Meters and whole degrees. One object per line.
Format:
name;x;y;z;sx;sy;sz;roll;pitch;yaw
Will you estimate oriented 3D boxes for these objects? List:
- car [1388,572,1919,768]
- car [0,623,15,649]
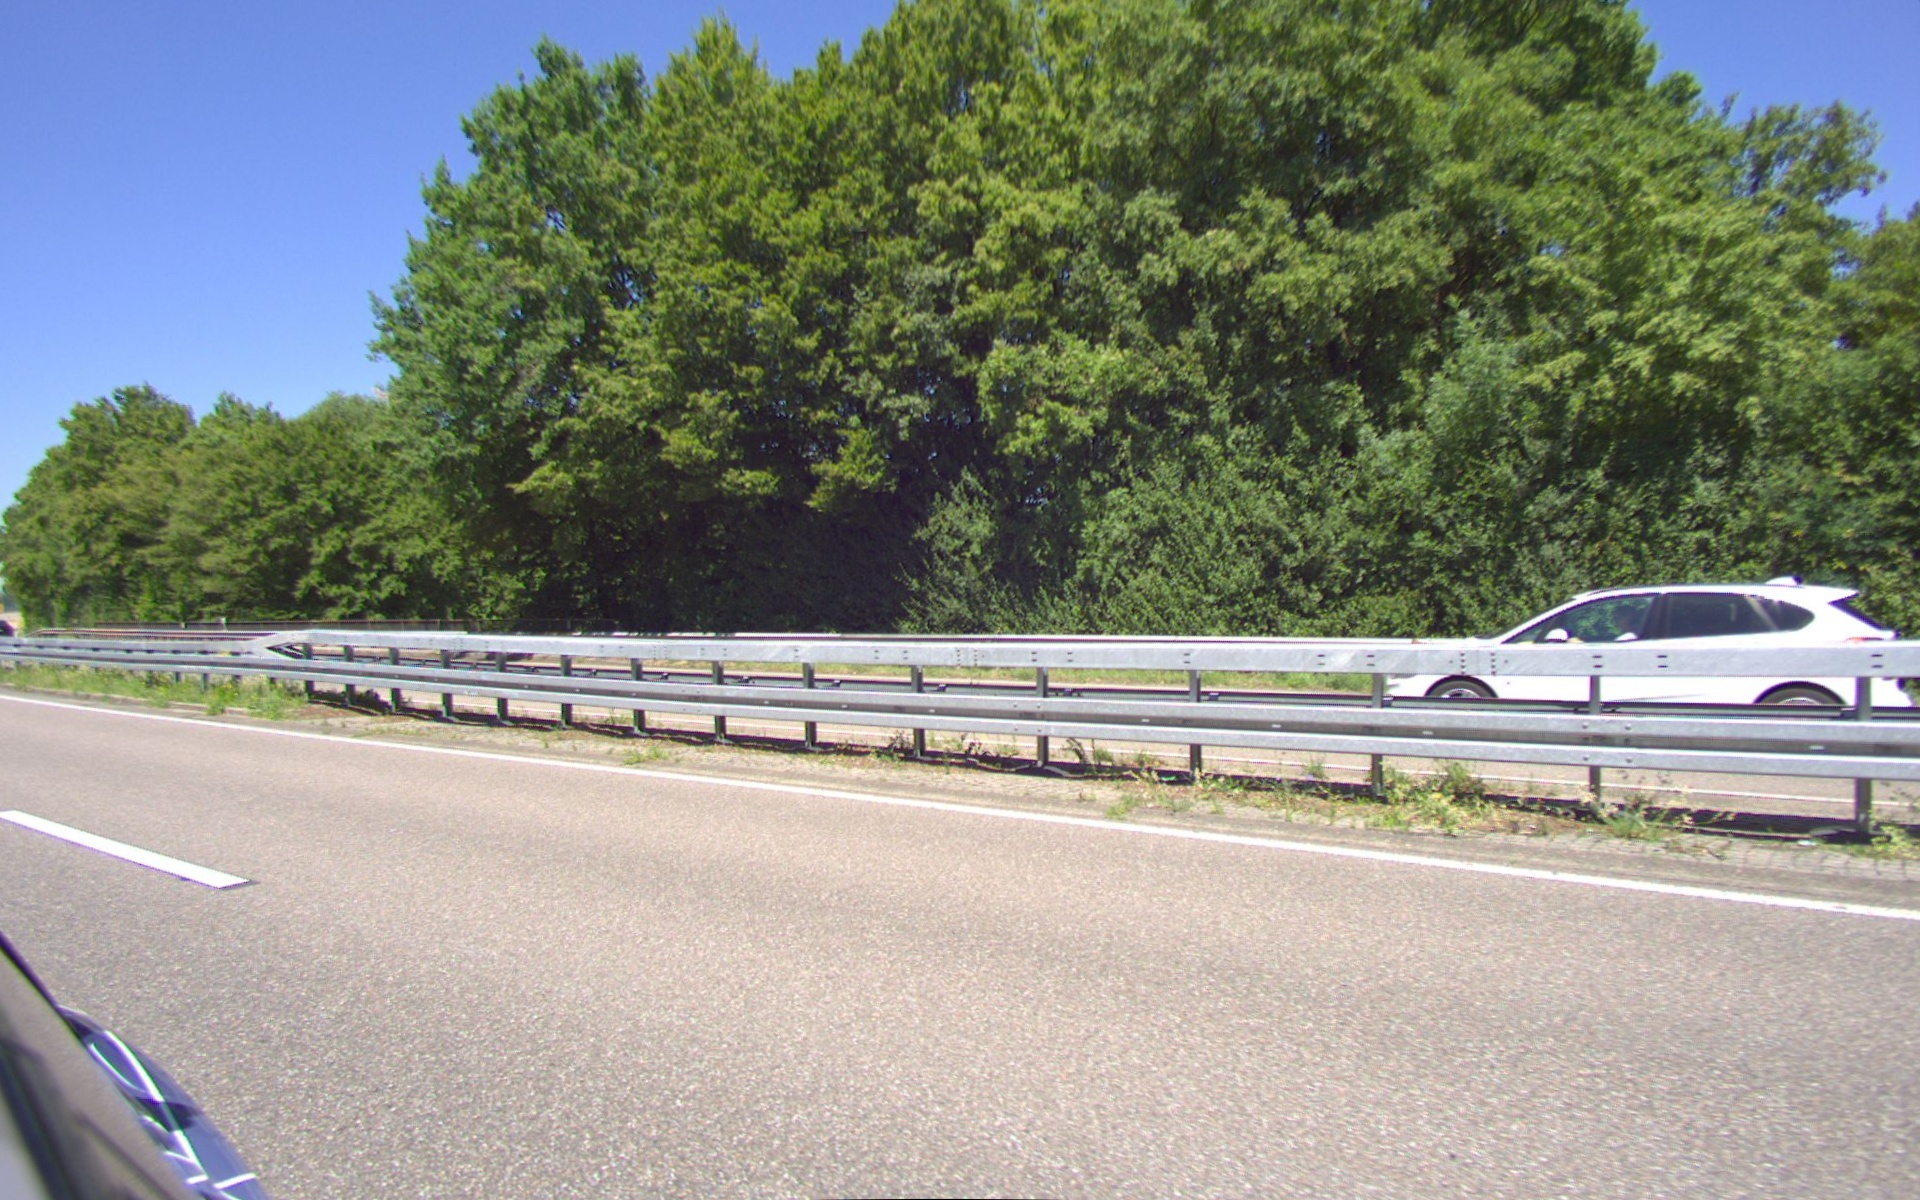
car;6.718;0.599;9.919;4.401;1.585;1.742;-1;-1;33
car;-58.085;2.159;60.378;4.676;1.540;1.739;-1;-1;37
